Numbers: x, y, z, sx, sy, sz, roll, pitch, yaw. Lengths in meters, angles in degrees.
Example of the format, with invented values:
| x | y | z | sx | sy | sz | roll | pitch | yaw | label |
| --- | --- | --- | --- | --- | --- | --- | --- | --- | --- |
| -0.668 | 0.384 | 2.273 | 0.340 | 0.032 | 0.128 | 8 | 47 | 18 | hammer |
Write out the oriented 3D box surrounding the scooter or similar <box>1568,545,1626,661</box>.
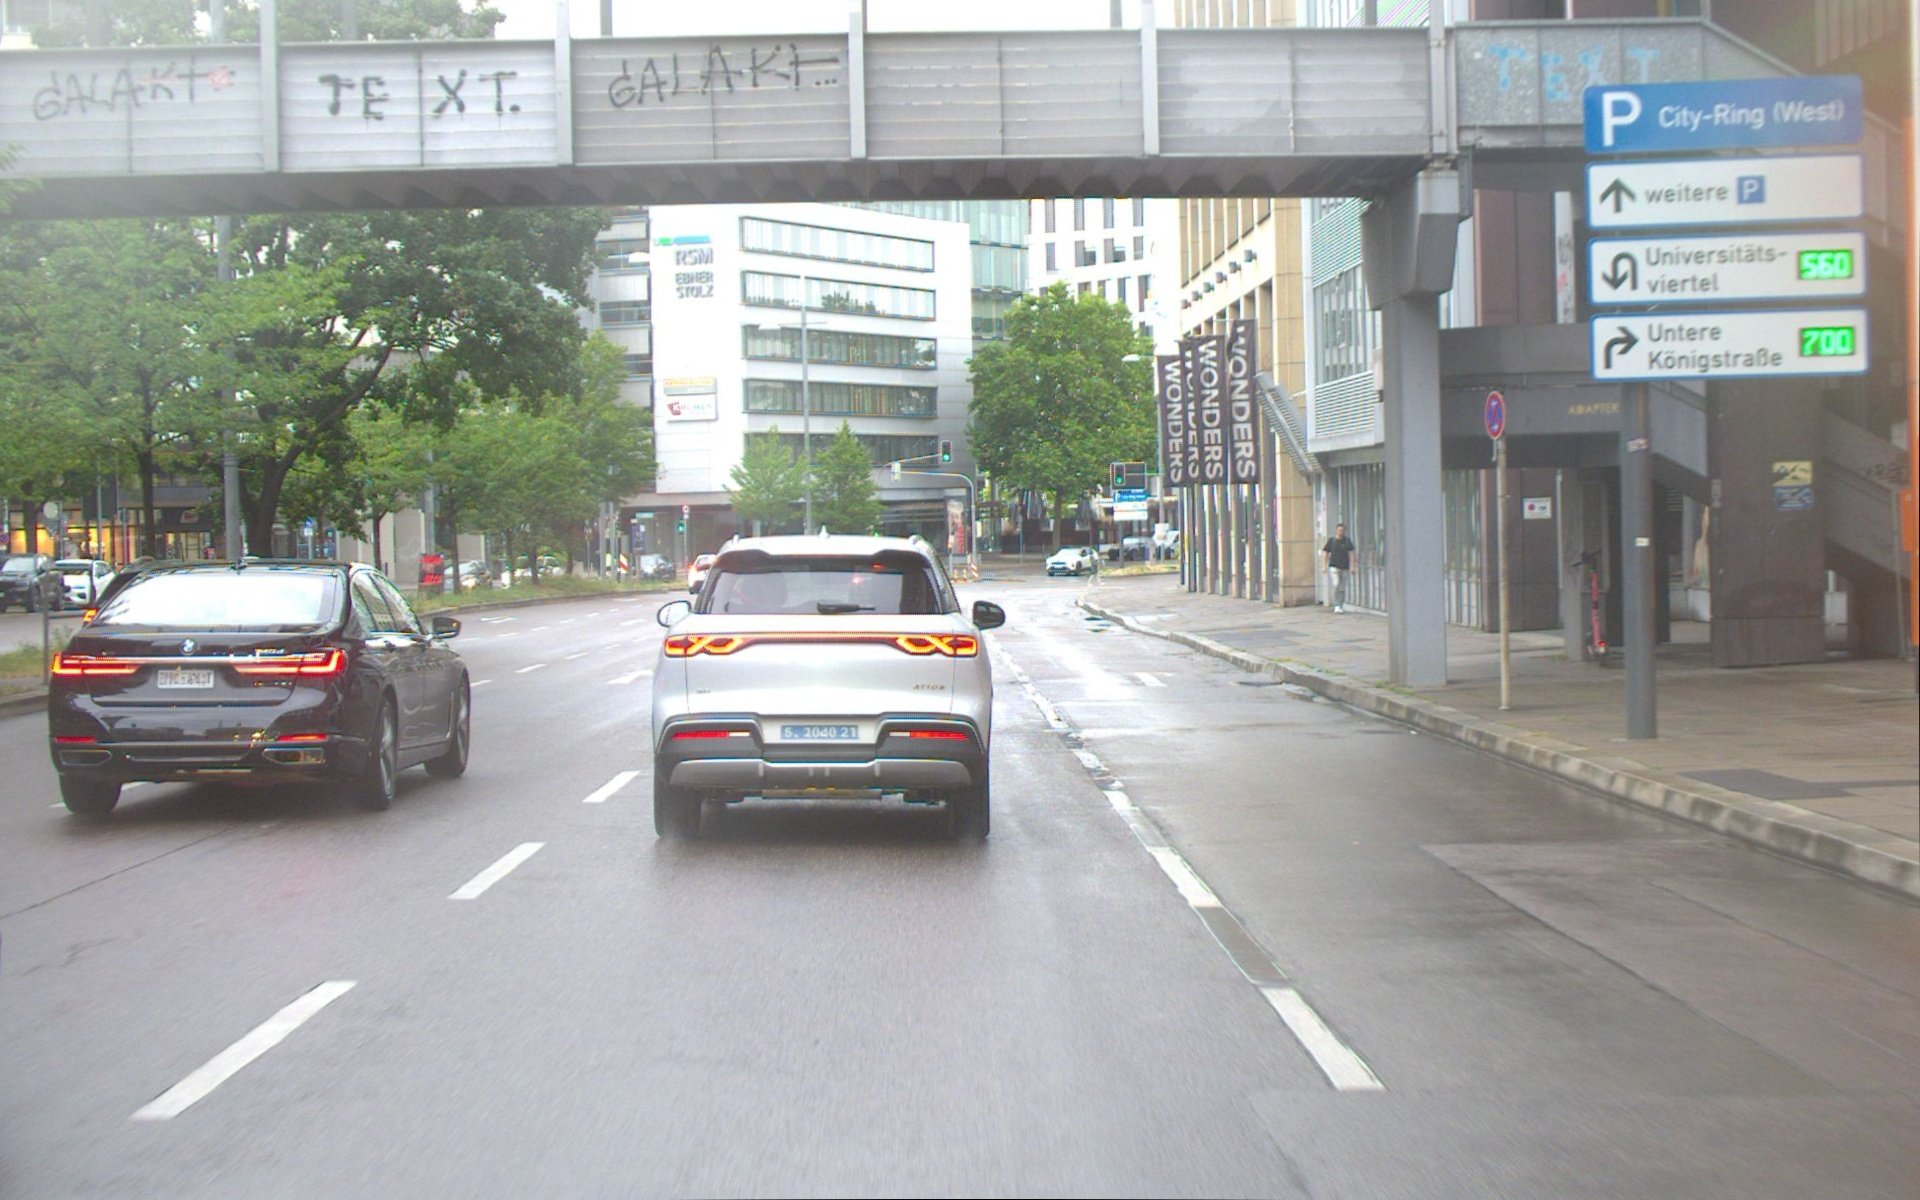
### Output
| x | y | z | sx | sy | sz | roll | pitch | yaw | label |
| --- | --- | --- | --- | --- | --- | --- | --- | --- | --- |
| 7.055 | 0.025 | 38.098 | 0.349 | 1.251 | 1.395 | -1 | 1 | -1 | scooter or similar |

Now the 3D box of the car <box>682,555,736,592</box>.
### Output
| x | y | z | sx | sy | sz | roll | pitch | yaw | label |
| --- | --- | --- | --- | --- | --- | --- | --- | --- | --- |
| -9.483 | -1.009 | 130.045 | 1.653 | 1.337 | 4.000 | 0 | 1 | 1 | car |

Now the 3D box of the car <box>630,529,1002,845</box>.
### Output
| x | y | z | sx | sy | sz | roll | pitch | yaw | label |
| --- | --- | --- | --- | --- | --- | --- | --- | --- | --- |
| -0.763 | 0.426 | 19.605 | 1.901 | 1.616 | 4.000 | 0 | 0 | -1 | car |

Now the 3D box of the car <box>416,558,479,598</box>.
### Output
| x | y | z | sx | sy | sz | roll | pitch | yaw | label |
| --- | --- | --- | --- | --- | --- | --- | --- | --- | --- |
| -17.495 | -0.732 | 117.507 | 1.623 | 1.307 | 3.618 | -1 | 0 | 0 | car |

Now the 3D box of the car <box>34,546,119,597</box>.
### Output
| x | y | z | sx | sy | sz | roll | pitch | yaw | label |
| --- | --- | --- | --- | --- | --- | --- | --- | --- | --- |
| -26.015 | -0.845 | 101.328 | 1.623 | 1.455 | 3.963 | 0 | 1 | -2 | car |

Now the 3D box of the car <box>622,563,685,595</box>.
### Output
| x | y | z | sx | sy | sz | roll | pitch | yaw | label |
| --- | --- | --- | --- | --- | --- | --- | --- | --- | --- |
| -14.449 | -0.990 | 162.185 | 1.624 | 1.448 | 4.159 | -1 | 0 | 15 | car |

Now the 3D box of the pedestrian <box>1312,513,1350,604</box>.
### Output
| x | y | z | sx | sy | sz | roll | pitch | yaw | label |
| --- | --- | --- | --- | --- | --- | --- | --- | --- | --- |
| 7.337 | -0.814 | 68.024 | 0.635 | 1.766 | 0.790 | -1 | 0 | 0 | pedestrian |

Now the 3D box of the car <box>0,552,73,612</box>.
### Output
| x | y | z | sx | sy | sz | roll | pitch | yaw | label |
| --- | --- | --- | --- | --- | --- | --- | --- | --- | --- |
| -25.839 | -0.524 | 95.196 | 1.623 | 1.605 | 4.232 | 0 | 1 | -2 | car |

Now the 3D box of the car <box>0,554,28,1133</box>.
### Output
| x | y | z | sx | sy | sz | roll | pitch | yaw | label |
| --- | --- | --- | --- | --- | --- | --- | --- | --- | --- |
| -3.293 | 0.618 | 6.822 | 1.672 | 1.474 | 4.360 | 0 | 0 | 0 | car |

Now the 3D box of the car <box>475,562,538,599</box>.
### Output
| x | y | z | sx | sy | sz | roll | pitch | yaw | label |
| --- | --- | --- | --- | --- | --- | --- | --- | --- | --- |
| -19.126 | -0.815 | 145.137 | 1.624 | 1.487 | 4.306 | -1 | 0 | 6 | car |

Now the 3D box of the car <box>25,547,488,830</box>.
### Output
| x | y | z | sx | sy | sz | roll | pitch | yaw | label |
| --- | --- | --- | --- | --- | --- | --- | --- | --- | --- |
| -4.219 | 0.451 | 21.427 | 1.872 | 1.474 | 4.878 | 0 | 2 | 0 | car |

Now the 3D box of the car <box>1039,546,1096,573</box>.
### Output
| x | y | z | sx | sy | sz | roll | pitch | yaw | label |
| --- | --- | --- | --- | --- | --- | --- | --- | --- | --- |
| 6.289 | -2.375 | 200.706 | 1.583 | 1.533 | 3.993 | 0 | 1 | 30 | car |

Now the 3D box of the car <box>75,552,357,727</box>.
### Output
| x | y | z | sx | sy | sz | roll | pitch | yaw | label |
| --- | --- | --- | --- | --- | --- | --- | --- | --- | --- |
| -6.648 | 0.333 | 31.113 | 1.774 | 1.452 | 4.000 | -1 | 0 | -2 | car |
